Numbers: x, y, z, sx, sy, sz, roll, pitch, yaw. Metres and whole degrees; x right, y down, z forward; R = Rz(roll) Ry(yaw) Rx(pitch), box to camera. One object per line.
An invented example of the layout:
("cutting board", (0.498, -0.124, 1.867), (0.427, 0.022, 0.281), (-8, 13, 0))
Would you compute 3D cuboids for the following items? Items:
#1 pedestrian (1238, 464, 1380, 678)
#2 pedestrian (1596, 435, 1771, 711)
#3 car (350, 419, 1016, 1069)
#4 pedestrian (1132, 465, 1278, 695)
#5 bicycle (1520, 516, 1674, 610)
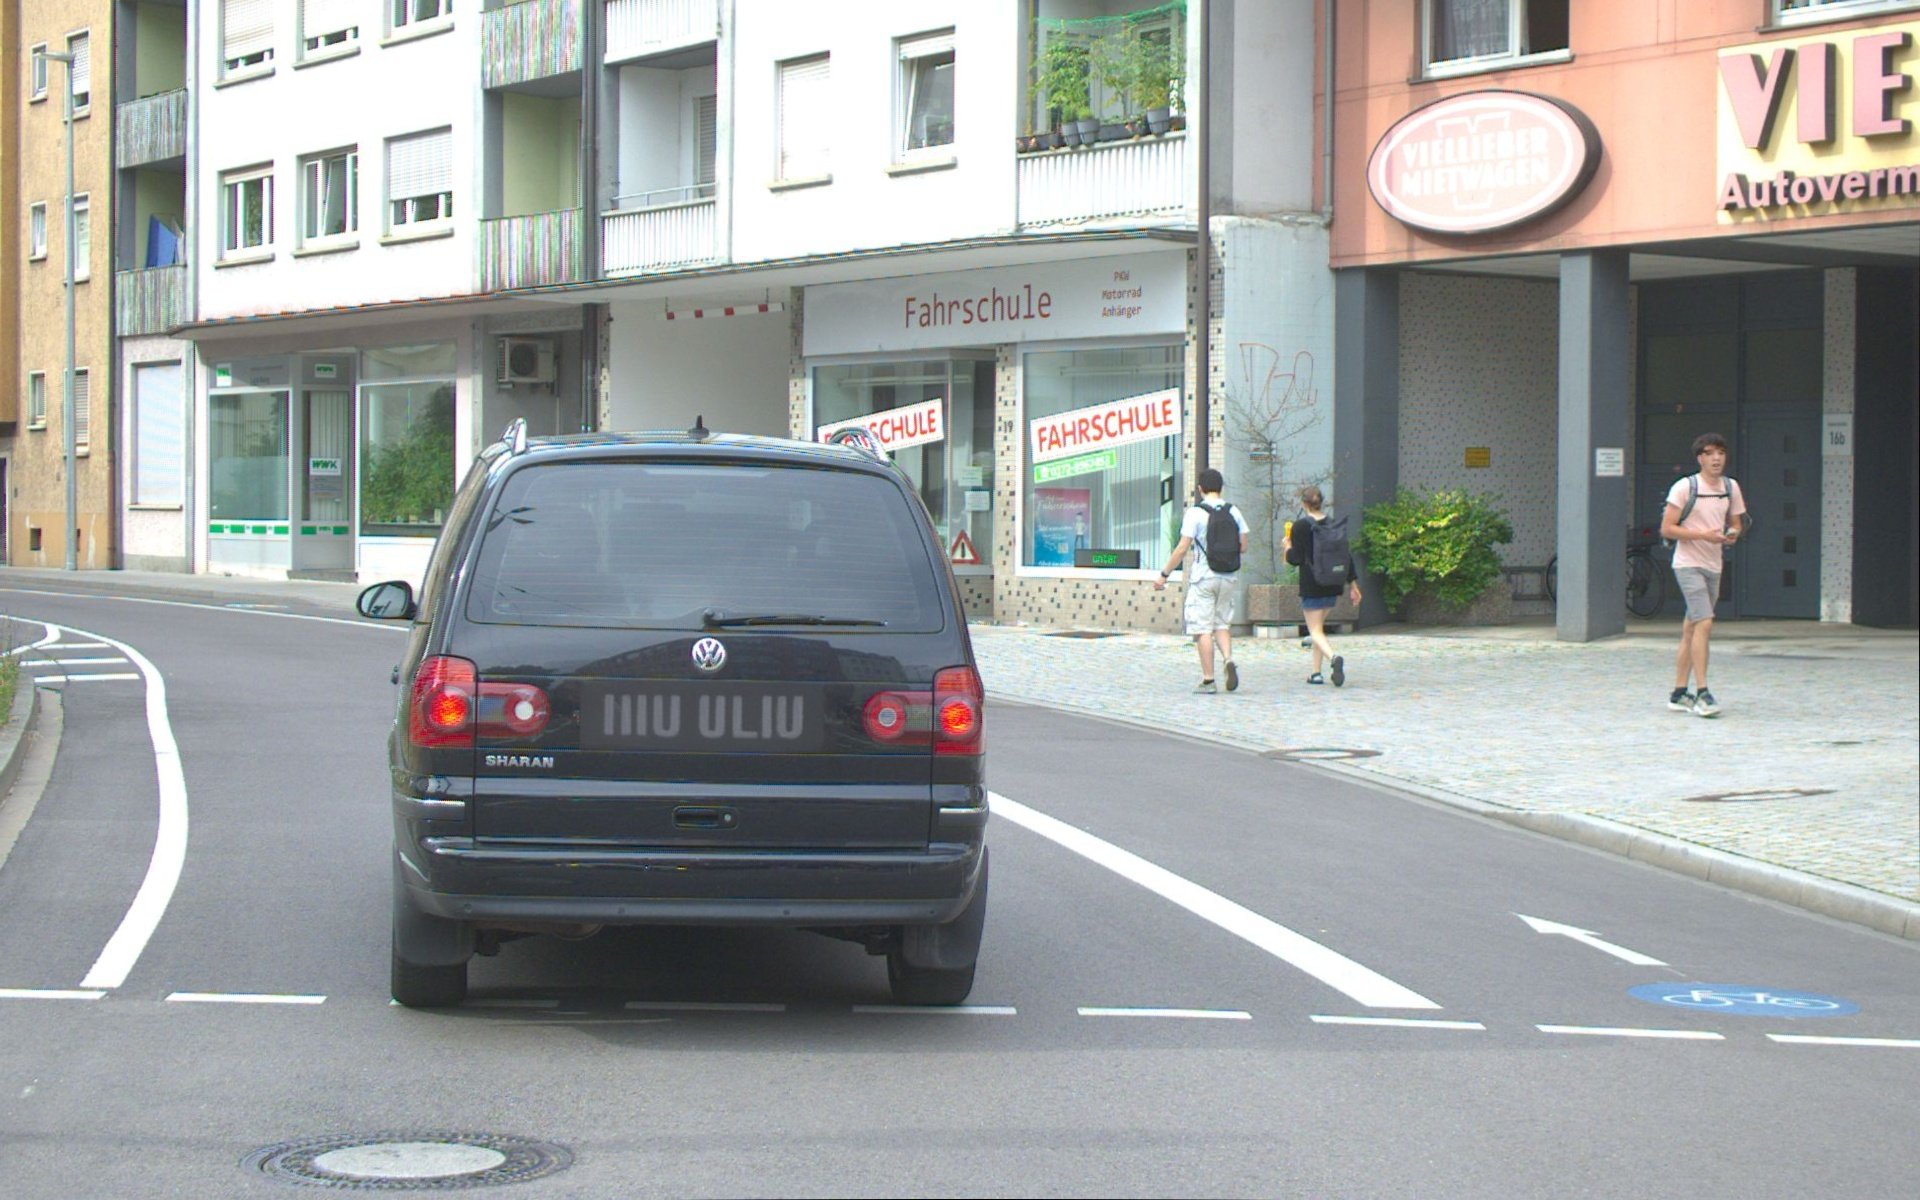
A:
("pedestrian", (2.797, -0.244, 27.584), (0.604, 1.662, 0.944), (-5, 4, -35))
("pedestrian", (5.009, -0.198, 23.828), (0.656, 1.845, 0.971), (-4, 3, -31))
("car", (-1.011, 0.324, 11.264), (1.812, 1.760, 3.739), (0, 2, -8))
("pedestrian", (1.927, -0.175, 27.081), (0.751, 1.744, 0.859), (-4, 4, -26))
("bicycle", (6.403, -0.386, 34.627), (0.452, 0.893, 1.678), (-1, 3, -34))
